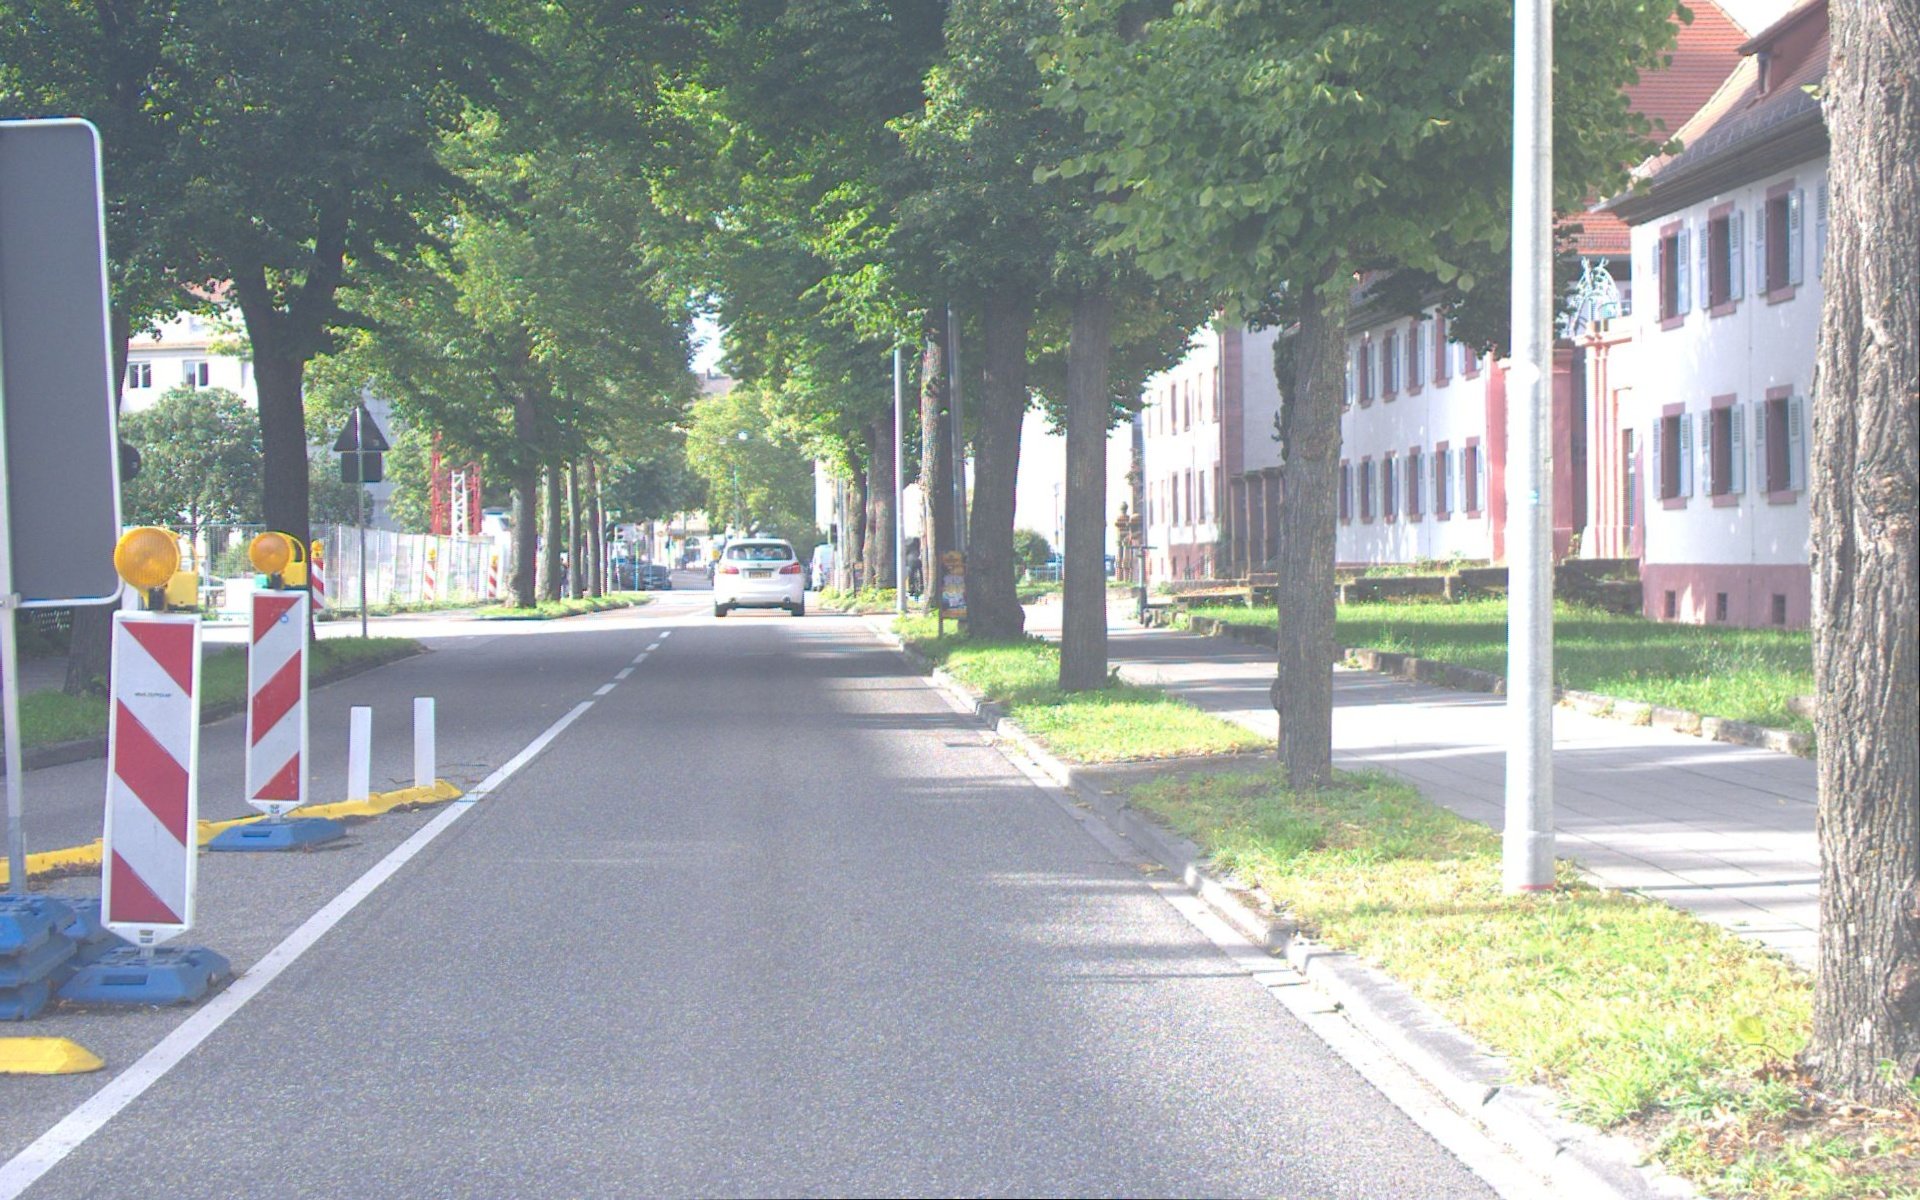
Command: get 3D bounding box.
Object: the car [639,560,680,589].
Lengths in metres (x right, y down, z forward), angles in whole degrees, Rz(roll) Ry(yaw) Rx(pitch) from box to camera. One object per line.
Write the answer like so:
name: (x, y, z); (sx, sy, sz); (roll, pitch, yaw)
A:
car: (-17.654, -1.499, 201.840); (1.993, 1.634, 4.001); (-1, 1, -10)

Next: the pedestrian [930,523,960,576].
pedestrian: (-0.473, -1.556, 106.634); (0.814, 1.585, 0.769); (-3, 0, -4)

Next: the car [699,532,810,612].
car: (-4.174, -0.550, 69.212); (1.993, 1.549, 4.275); (1, 0, -6)

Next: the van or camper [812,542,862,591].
van or camper: (-6.673, -1.812, 186.022); (2.209, 2.598, 5.373); (-1, 1, -7)

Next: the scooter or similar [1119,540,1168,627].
scooter or similar: (2.806, -0.261, 52.559); (0.579, 1.287, 1.381); (-2, 1, -2)

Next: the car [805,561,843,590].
car: (-7.809, -1.408, 196.913); (1.993, 1.568, 4.001); (-1, 1, -4)
